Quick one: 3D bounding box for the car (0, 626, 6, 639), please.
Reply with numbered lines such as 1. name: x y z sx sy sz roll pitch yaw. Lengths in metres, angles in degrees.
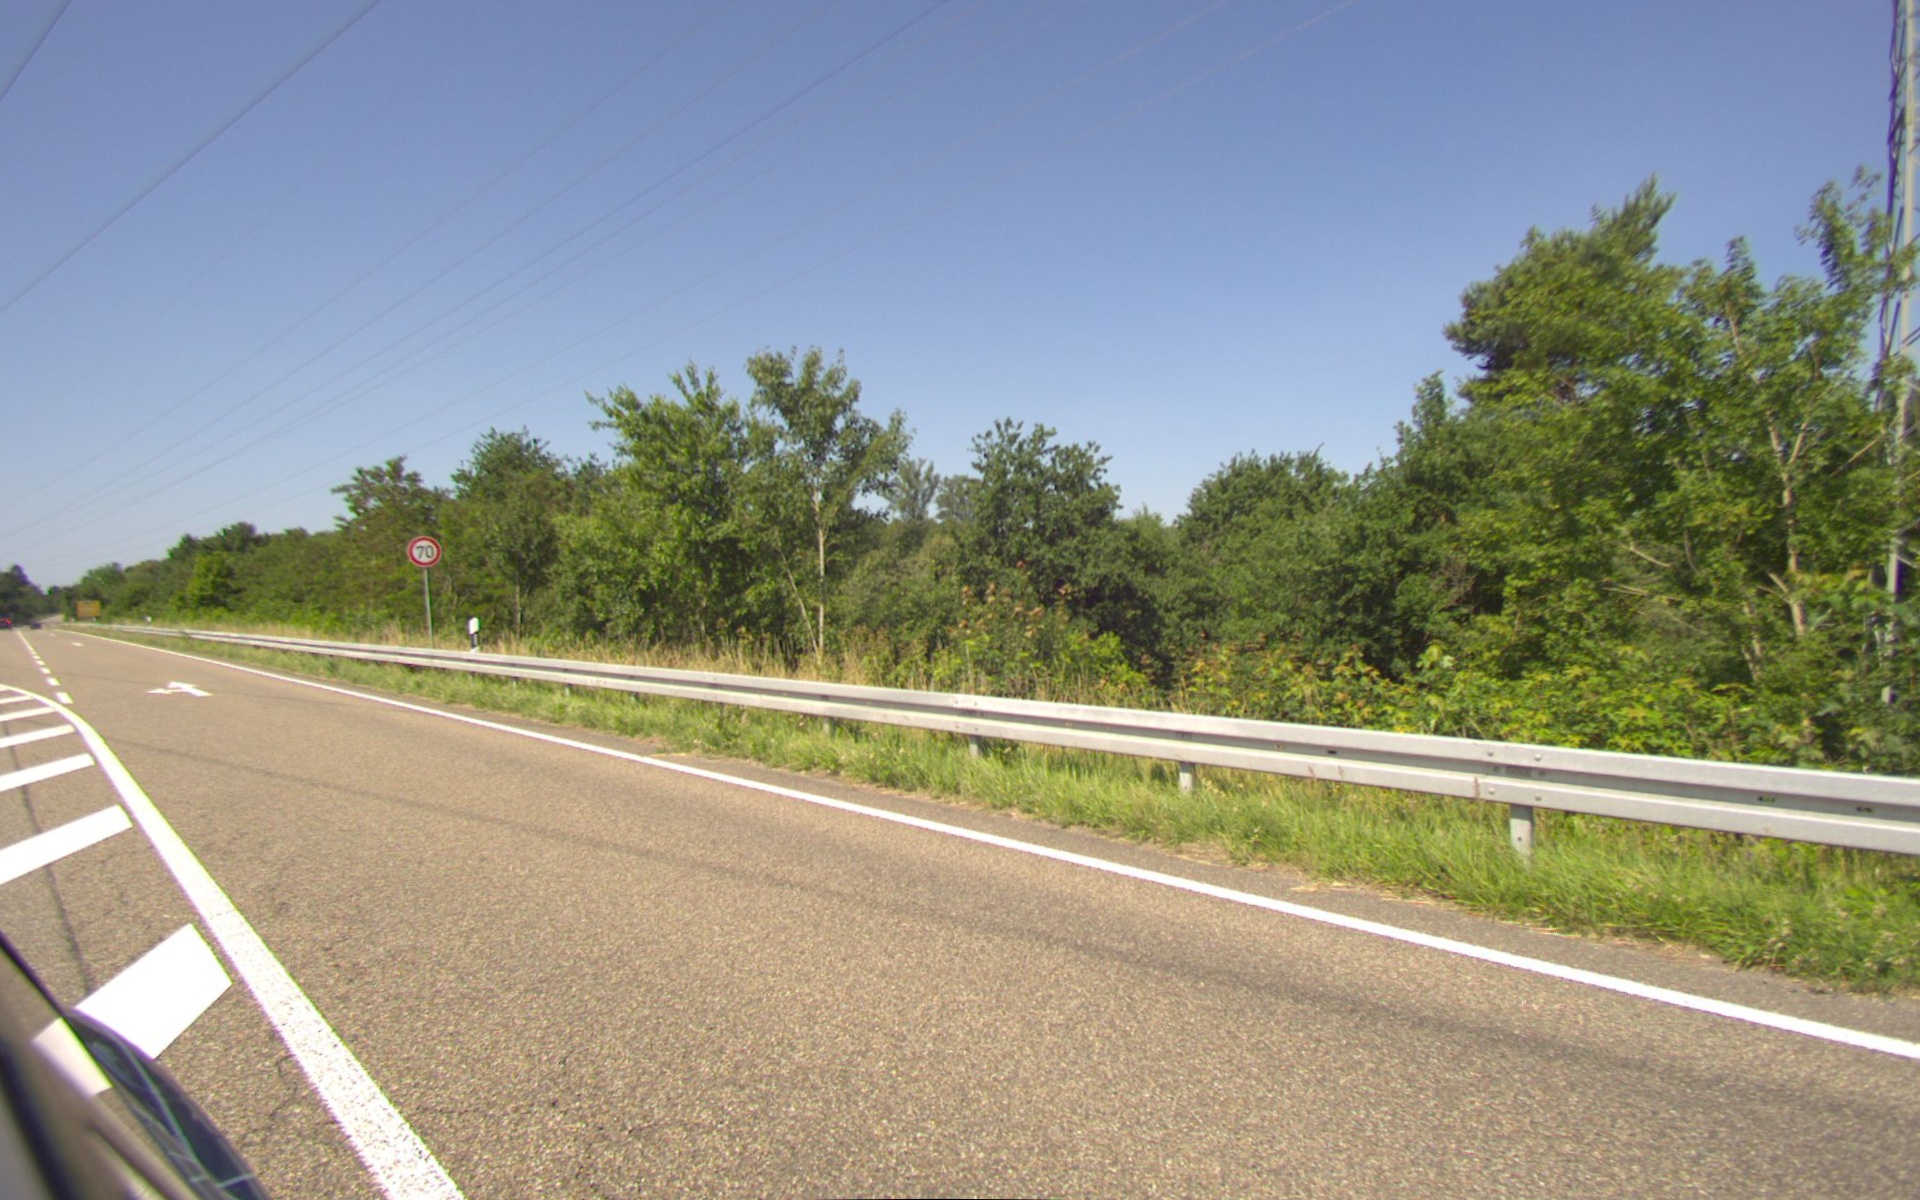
1. car: -123.764 4.199 129.808 4.002 1.595 1.808 -1 -2 45
